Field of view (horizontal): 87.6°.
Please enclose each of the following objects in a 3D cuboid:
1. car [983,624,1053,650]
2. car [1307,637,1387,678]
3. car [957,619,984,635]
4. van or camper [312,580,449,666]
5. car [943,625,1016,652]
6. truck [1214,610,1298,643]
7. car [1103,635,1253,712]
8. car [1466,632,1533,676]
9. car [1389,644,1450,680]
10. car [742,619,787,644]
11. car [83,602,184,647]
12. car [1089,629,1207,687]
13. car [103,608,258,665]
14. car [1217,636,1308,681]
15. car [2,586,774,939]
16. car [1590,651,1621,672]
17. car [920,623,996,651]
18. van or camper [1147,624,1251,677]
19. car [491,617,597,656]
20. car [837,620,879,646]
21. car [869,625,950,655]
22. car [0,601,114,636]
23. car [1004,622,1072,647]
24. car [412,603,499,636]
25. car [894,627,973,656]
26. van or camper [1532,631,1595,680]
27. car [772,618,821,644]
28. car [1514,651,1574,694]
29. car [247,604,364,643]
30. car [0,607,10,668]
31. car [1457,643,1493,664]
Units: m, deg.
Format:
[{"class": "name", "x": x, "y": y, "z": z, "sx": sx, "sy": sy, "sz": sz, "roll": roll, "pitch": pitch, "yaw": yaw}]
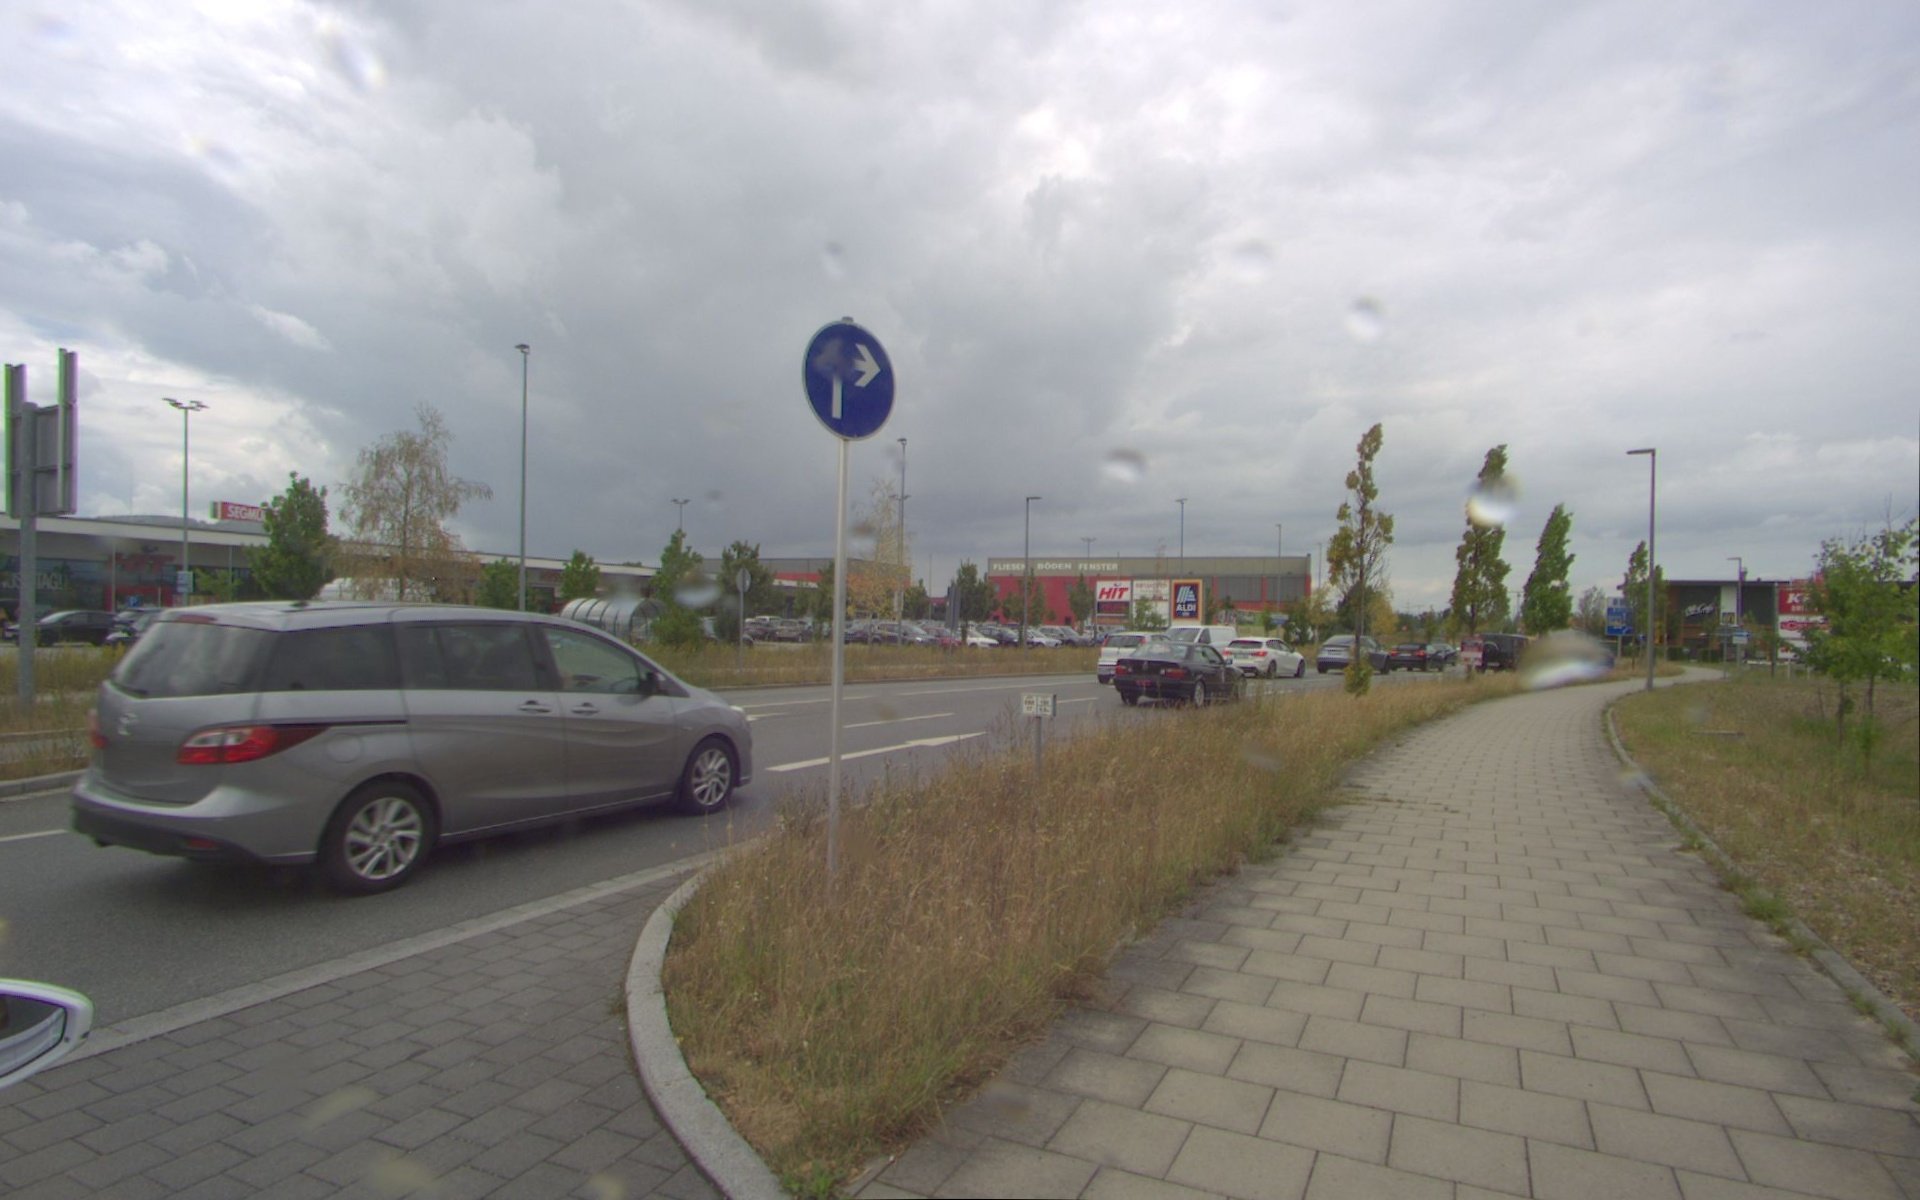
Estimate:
[{"class": "car", "x": 3.504, "y": 2.198, "z": 60.304, "sx": 3.761, "sy": 1.408, "sz": 1.903, "roll": 1, "pitch": 0, "yaw": 34}, {"class": "car", "x": 16.295, "y": 2.360, "z": 42.046, "sx": 1.788, "sy": 1.527, "sz": 4.850, "roll": 1, "pitch": -1, "yaw": 38}, {"class": "car", "x": 1.100, "y": 2.823, "z": 105.604, "sx": 1.731, "sy": 1.675, "sz": 3.831, "roll": 1, "pitch": 0, "yaw": 18}, {"class": "van or camper", "x": -18.239, "y": 0.728, "z": 31.511, "sx": 3.946, "sy": 2.524, "sz": 2.277, "roll": 0, "pitch": -2, "yaw": 35}, {"class": "car", "x": 1.097, "y": 2.171, "z": 56.842, "sx": 3.761, "sy": 1.408, "sz": 1.903, "roll": 1, "pitch": 0, "yaw": 34}, {"class": "truck", "x": 27.362, "y": 2.459, "z": 92.373, "sx": 8.070, "sy": 2.984, "sz": 2.665, "roll": 2, "pitch": -1, "yaw": -31}, {"class": "car", "x": 4.771, "y": 1.495, "z": 21.458, "sx": 1.734, "sy": 1.404, "sz": 4.279, "roll": 1, "pitch": -1, "yaw": 33}, {"class": "car", "x": 25.933, "y": 2.584, "z": 48.024, "sx": 1.975, "sy": 1.948, "sz": 4.815, "roll": 1, "pitch": -2, "yaw": 39}, {"class": "car", "x": 22.554, "y": 3.009, "z": 49.067, "sx": 1.884, "sy": 1.588, "sz": 4.309, "roll": 1, "pitch": -1, "yaw": 36}, {"class": "car", "x": -13.871, "y": 2.247, "z": 71.351, "sx": 1.730, "sy": 1.675, "sz": 3.833, "roll": 1, "pitch": 0, "yaw": 13}, {"class": "car", "x": -32.321, "y": 0.941, "z": 39.134, "sx": 3.940, "sy": 1.675, "sz": 1.812, "roll": 0, "pitch": -1, "yaw": 31}, {"class": "car", "x": 5.421, "y": 1.598, "z": 28.533, "sx": 1.778, "sy": 1.480, "sz": 3.791, "roll": 0, "pitch": -1, "yaw": 37}, {"class": "car", "x": -21.668, "y": 0.989, "z": 27.829, "sx": 4.087, "sy": 1.469, "sz": 1.987, "roll": 0, "pitch": -2, "yaw": 30}, {"class": "car", "x": 10.894, "y": 2.050, "z": 35.881, "sx": 1.778, "sy": 1.469, "sz": 4.220, "roll": 0, "pitch": -1, "yaw": 37}, {"class": "car", "x": -3.397, "y": 0.792, "z": 6.971, "sx": 1.792, "sy": 1.583, "sz": 4.385, "roll": 2, "pitch": 0, "yaw": 27}, {"class": "car", "x": 47.352, "y": 4.479, "z": 73.438, "sx": 1.477, "sy": 1.403, "sz": 3.317, "roll": 0, "pitch": -2, "yaw": 40}, {"class": "car", "x": -0.126, "y": 1.991, "z": 55.022, "sx": 3.761, "sy": 1.408, "sz": 1.903, "roll": 1, "pitch": 0, "yaw": 34}, {"class": "van or camper", "x": 9.597, "y": 1.975, "z": 39.963, "sx": 1.976, "sy": 1.936, "sz": 5.166, "roll": 1, "pitch": -1, "yaw": 39}, {"class": "car", "x": -15.776, "y": 1.355, "z": 37.935, "sx": 4.094, "sy": 1.402, "sz": 1.800, "roll": 0, "pitch": -2, "yaw": 35}, {"class": "car", "x": -6.919, "y": 2.225, "z": 68.359, "sx": 1.730, "sy": 1.675, "sz": 3.833, "roll": 1, "pitch": 0, "yaw": 13}, {"class": "car", "x": -2.590, "y": 2.036, "z": 51.296, "sx": 3.761, "sy": 1.408, "sz": 1.903, "roll": 1, "pitch": 0, "yaw": 34}, {"class": "car", "x": -42.382, "y": 0.877, "z": 46.722, "sx": 1.966, "sy": 1.527, "sz": 3.990, "roll": 1, "pitch": -1, "yaw": 23}, {"class": "car", "x": 4.854, "y": 2.145, "z": 62.320, "sx": 3.761, "sy": 1.408, "sz": 1.903, "roll": 1, "pitch": 0, "yaw": 34}, {"class": "car", "x": -29.778, "y": 1.178, "z": 59.254, "sx": 1.965, "sy": 1.842, "sz": 4.422, "roll": 0, "pitch": -2, "yaw": 19}, {"class": "car", "x": -1.423, "y": 2.167, "z": 53.075, "sx": 3.761, "sy": 1.408, "sz": 1.903, "roll": 1, "pitch": 0, "yaw": 34}, {"class": "van or camper", "x": 34.236, "y": 3.130, "z": 56.701, "sx": 2.170, "sy": 2.573, "sz": 6.122, "roll": 1, "pitch": -2, "yaw": 40}, {"class": "car", "x": -11.433, "y": 2.161, "z": 70.390, "sx": 1.963, "sy": 1.756, "sz": 3.997, "roll": 1, "pitch": 0, "yaw": 14}, {"class": "car", "x": 24.532, "y": 3.001, "z": 42.014, "sx": 1.665, "sy": 1.698, "sz": 3.480, "roll": 0, "pitch": -2, "yaw": 40}, {"class": "car", "x": -29.416, "y": 1.045, "z": 45.126, "sx": 1.970, "sy": 1.639, "sz": 3.982, "roll": 1, "pitch": -1, "yaw": 30}, {"class": "car", "x": -24.471, "y": 0.853, "z": 23.569, "sx": 4.087, "sy": 1.402, "sz": 1.987, "roll": 0, "pitch": -2, "yaw": 30}, {"class": "car", "x": 41.327, "y": 4.244, "z": 80.308, "sx": 1.885, "sy": 1.588, "sz": 4.307, "roll": 1, "pitch": -1, "yaw": 37}]
